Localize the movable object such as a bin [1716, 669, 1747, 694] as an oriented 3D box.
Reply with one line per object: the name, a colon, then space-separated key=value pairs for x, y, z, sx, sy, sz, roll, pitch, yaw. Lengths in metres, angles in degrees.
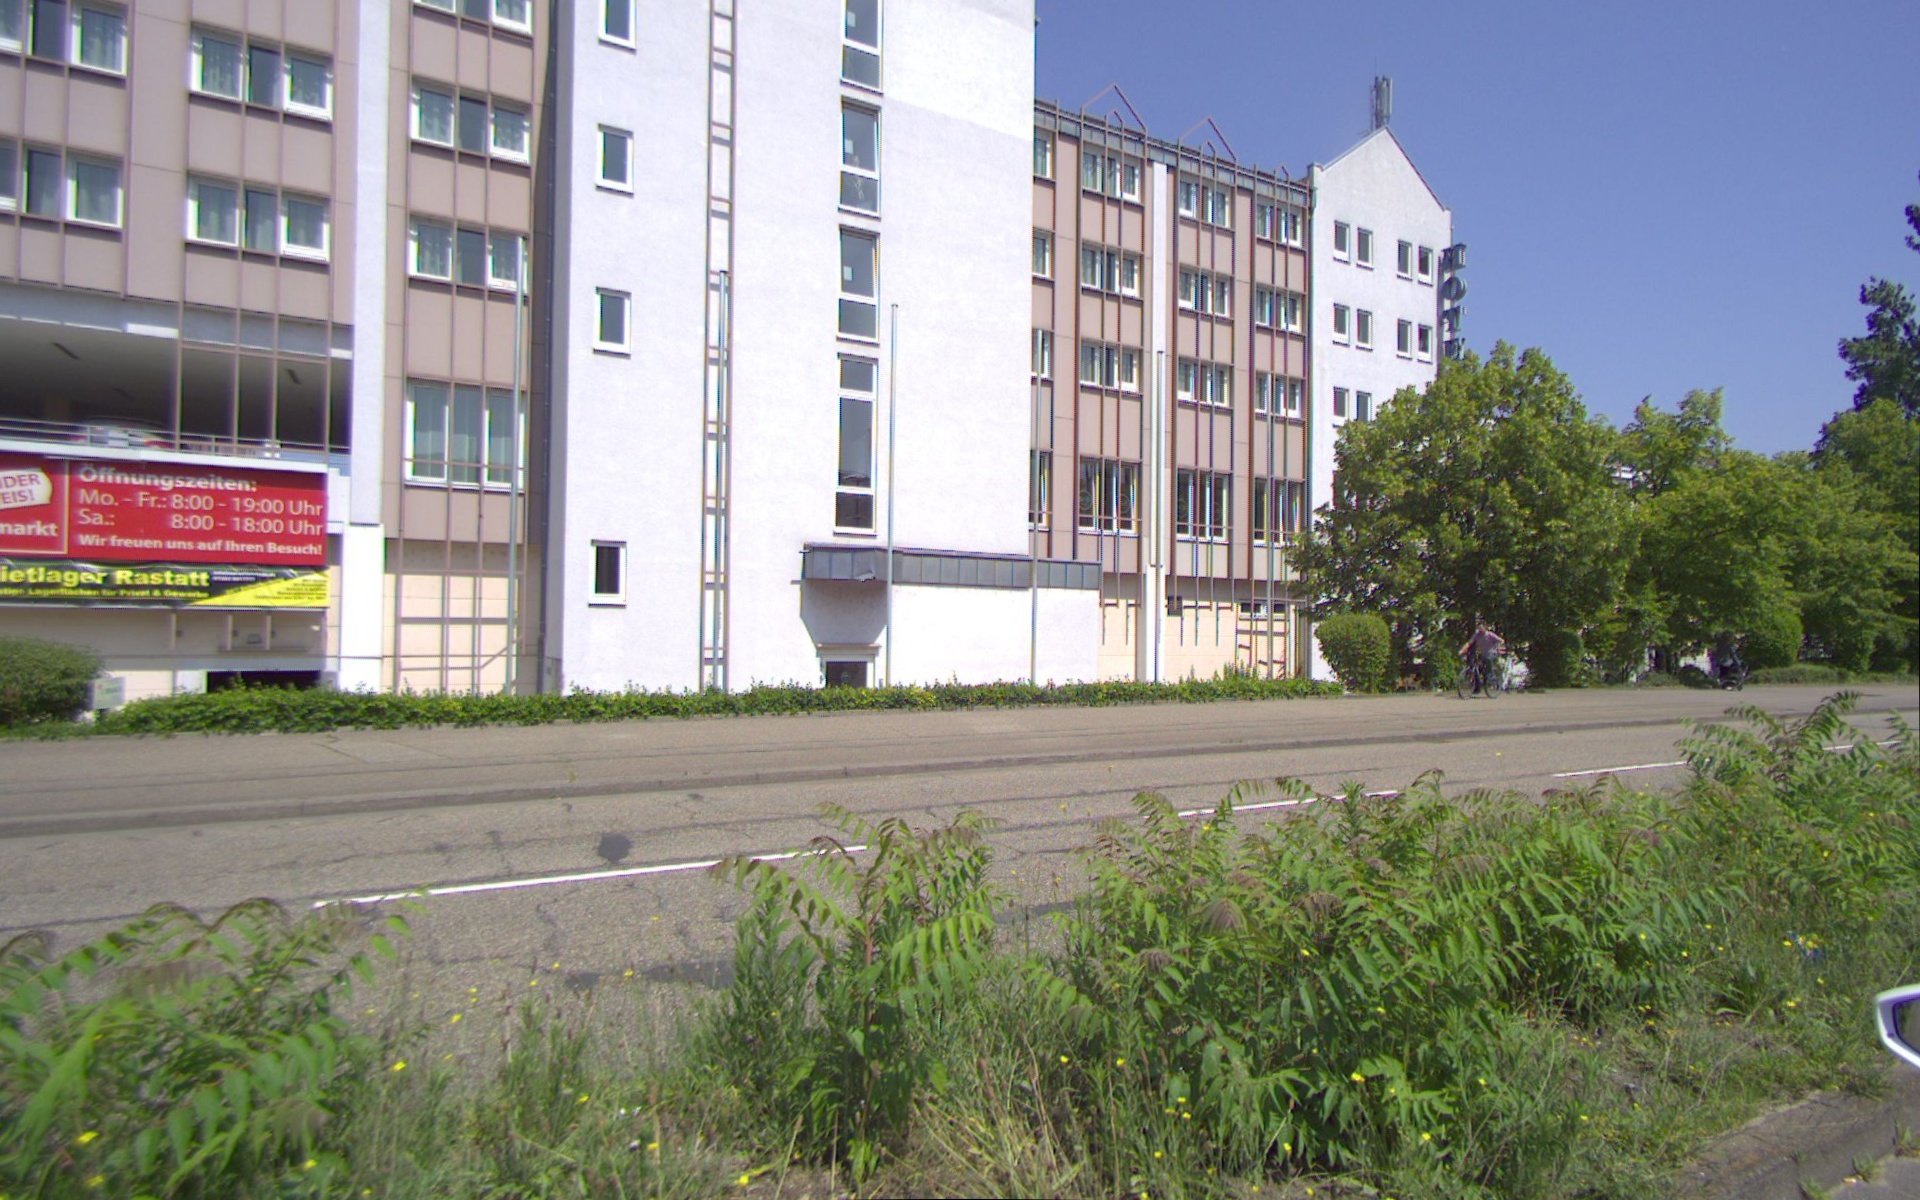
movable object such as a bin: x=22.331 y=2.352 z=29.074 sx=0.642 sy=0.714 sz=0.427 roll=2 pitch=-2 yaw=-20

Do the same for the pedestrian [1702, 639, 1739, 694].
pedestrian: x=22.437 y=1.954 z=29.633 sx=0.718 sy=1.565 sz=0.630 roll=2 pitch=-2 yaw=-29

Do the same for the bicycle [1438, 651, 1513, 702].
bicycle: x=11.719 y=1.719 z=22.806 sx=2.040 sy=1.087 sz=0.548 roll=2 pitch=-1 yaw=-32

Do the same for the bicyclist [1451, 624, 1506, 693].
bicyclist: x=11.808 y=1.327 z=22.867 sx=1.015 sy=1.536 sz=0.713 roll=2 pitch=-2 yaw=-32
